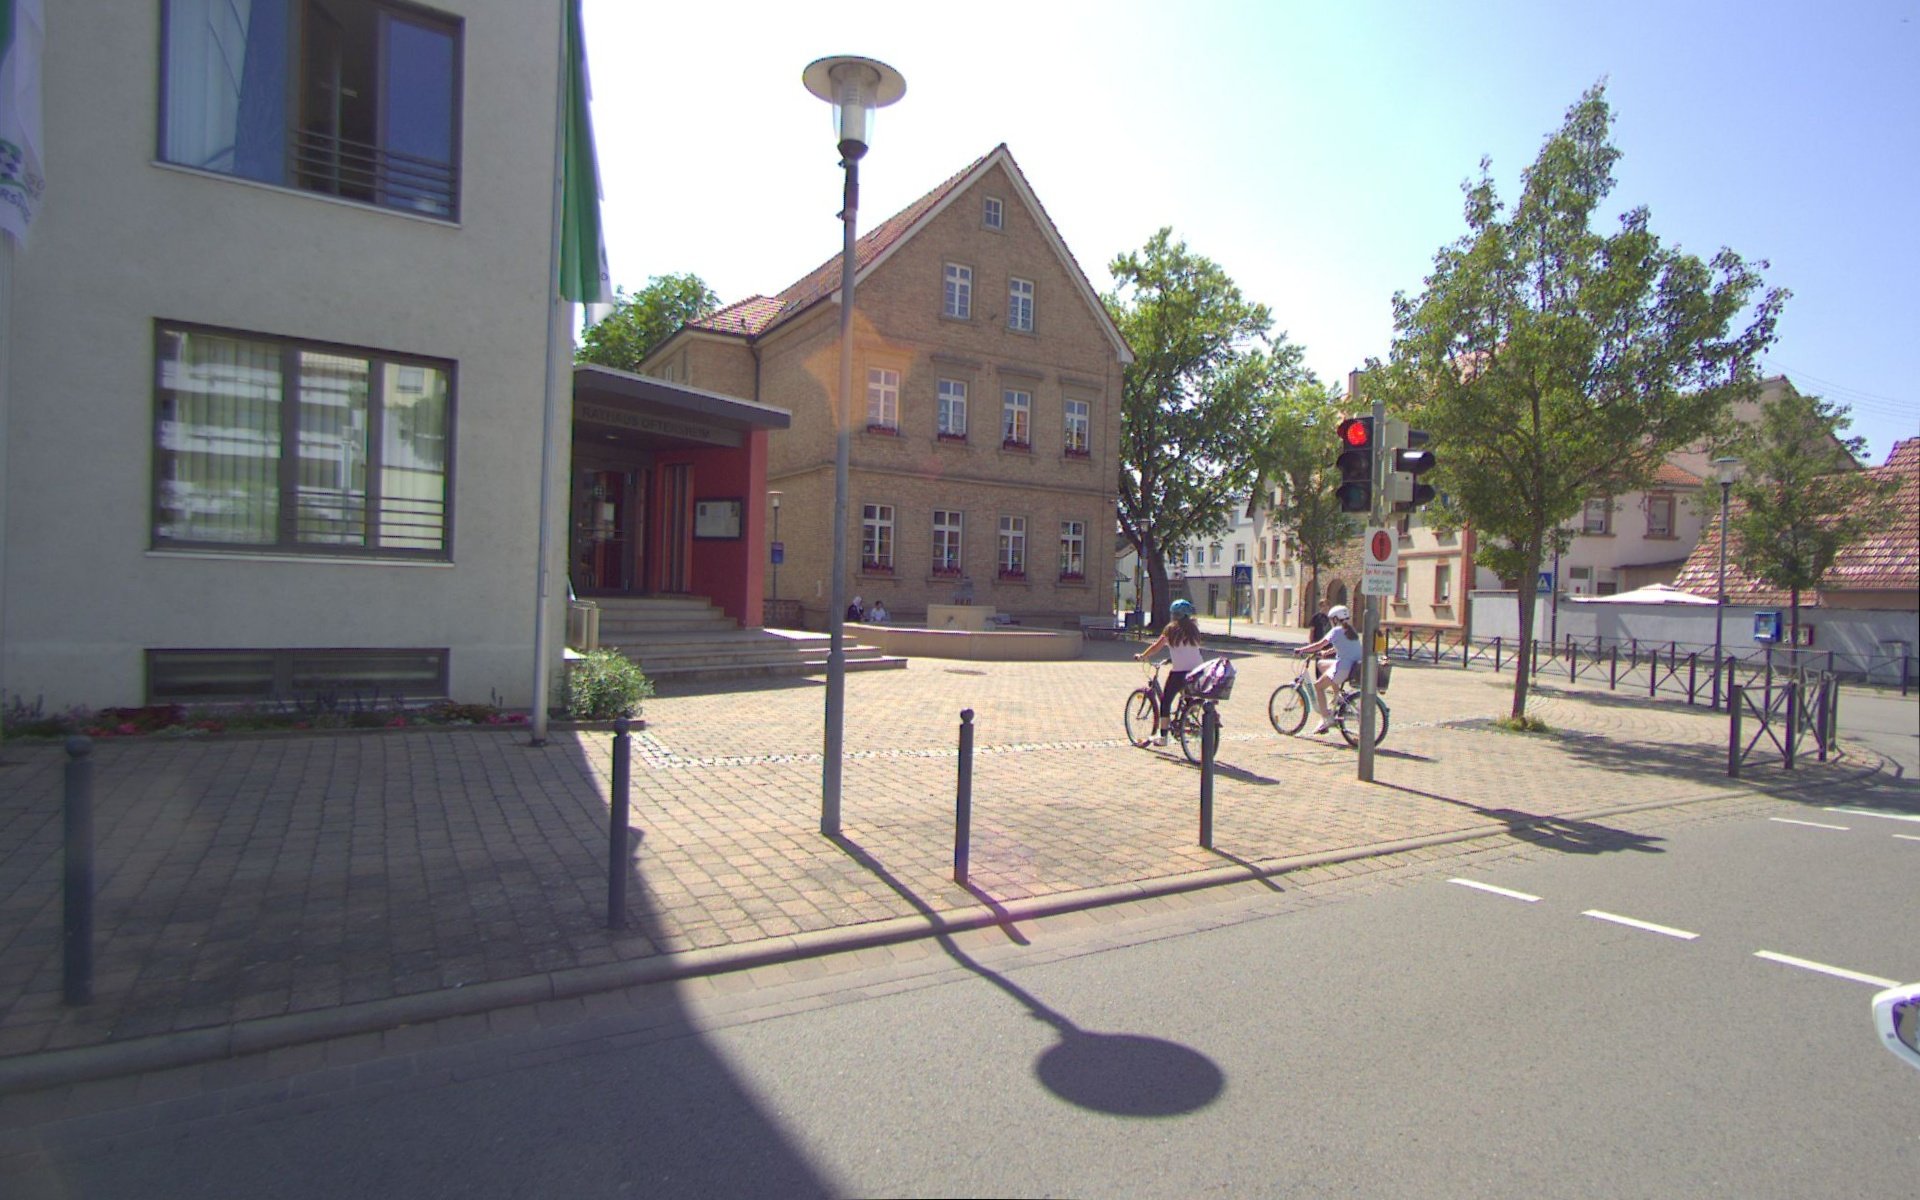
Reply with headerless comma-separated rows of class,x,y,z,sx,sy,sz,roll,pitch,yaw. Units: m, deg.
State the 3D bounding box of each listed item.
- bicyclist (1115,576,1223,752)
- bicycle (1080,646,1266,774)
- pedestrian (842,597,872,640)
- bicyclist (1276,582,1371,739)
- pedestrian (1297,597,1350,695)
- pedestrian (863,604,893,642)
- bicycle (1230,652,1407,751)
bicyclist,1.996,0.584,9.642,0.662,1.603,0.756,1,1,-28
bicycle,1.988,0.995,9.668,0.667,0.971,1.882,2,1,-28
pedestrian,-2.926,0.526,28.495,0.611,1.186,0.636,2,0,-29
bicyclist,4.084,0.663,11.293,0.664,1.686,0.754,1,-1,-33
pedestrian,6.571,0.816,18.202,0.798,1.676,0.851,3,1,19
pedestrian,-2.365,0.652,28.883,0.611,1.041,0.636,2,0,-29
bicycle,4.015,1.103,11.389,0.669,0.970,1.879,1,-1,-33
